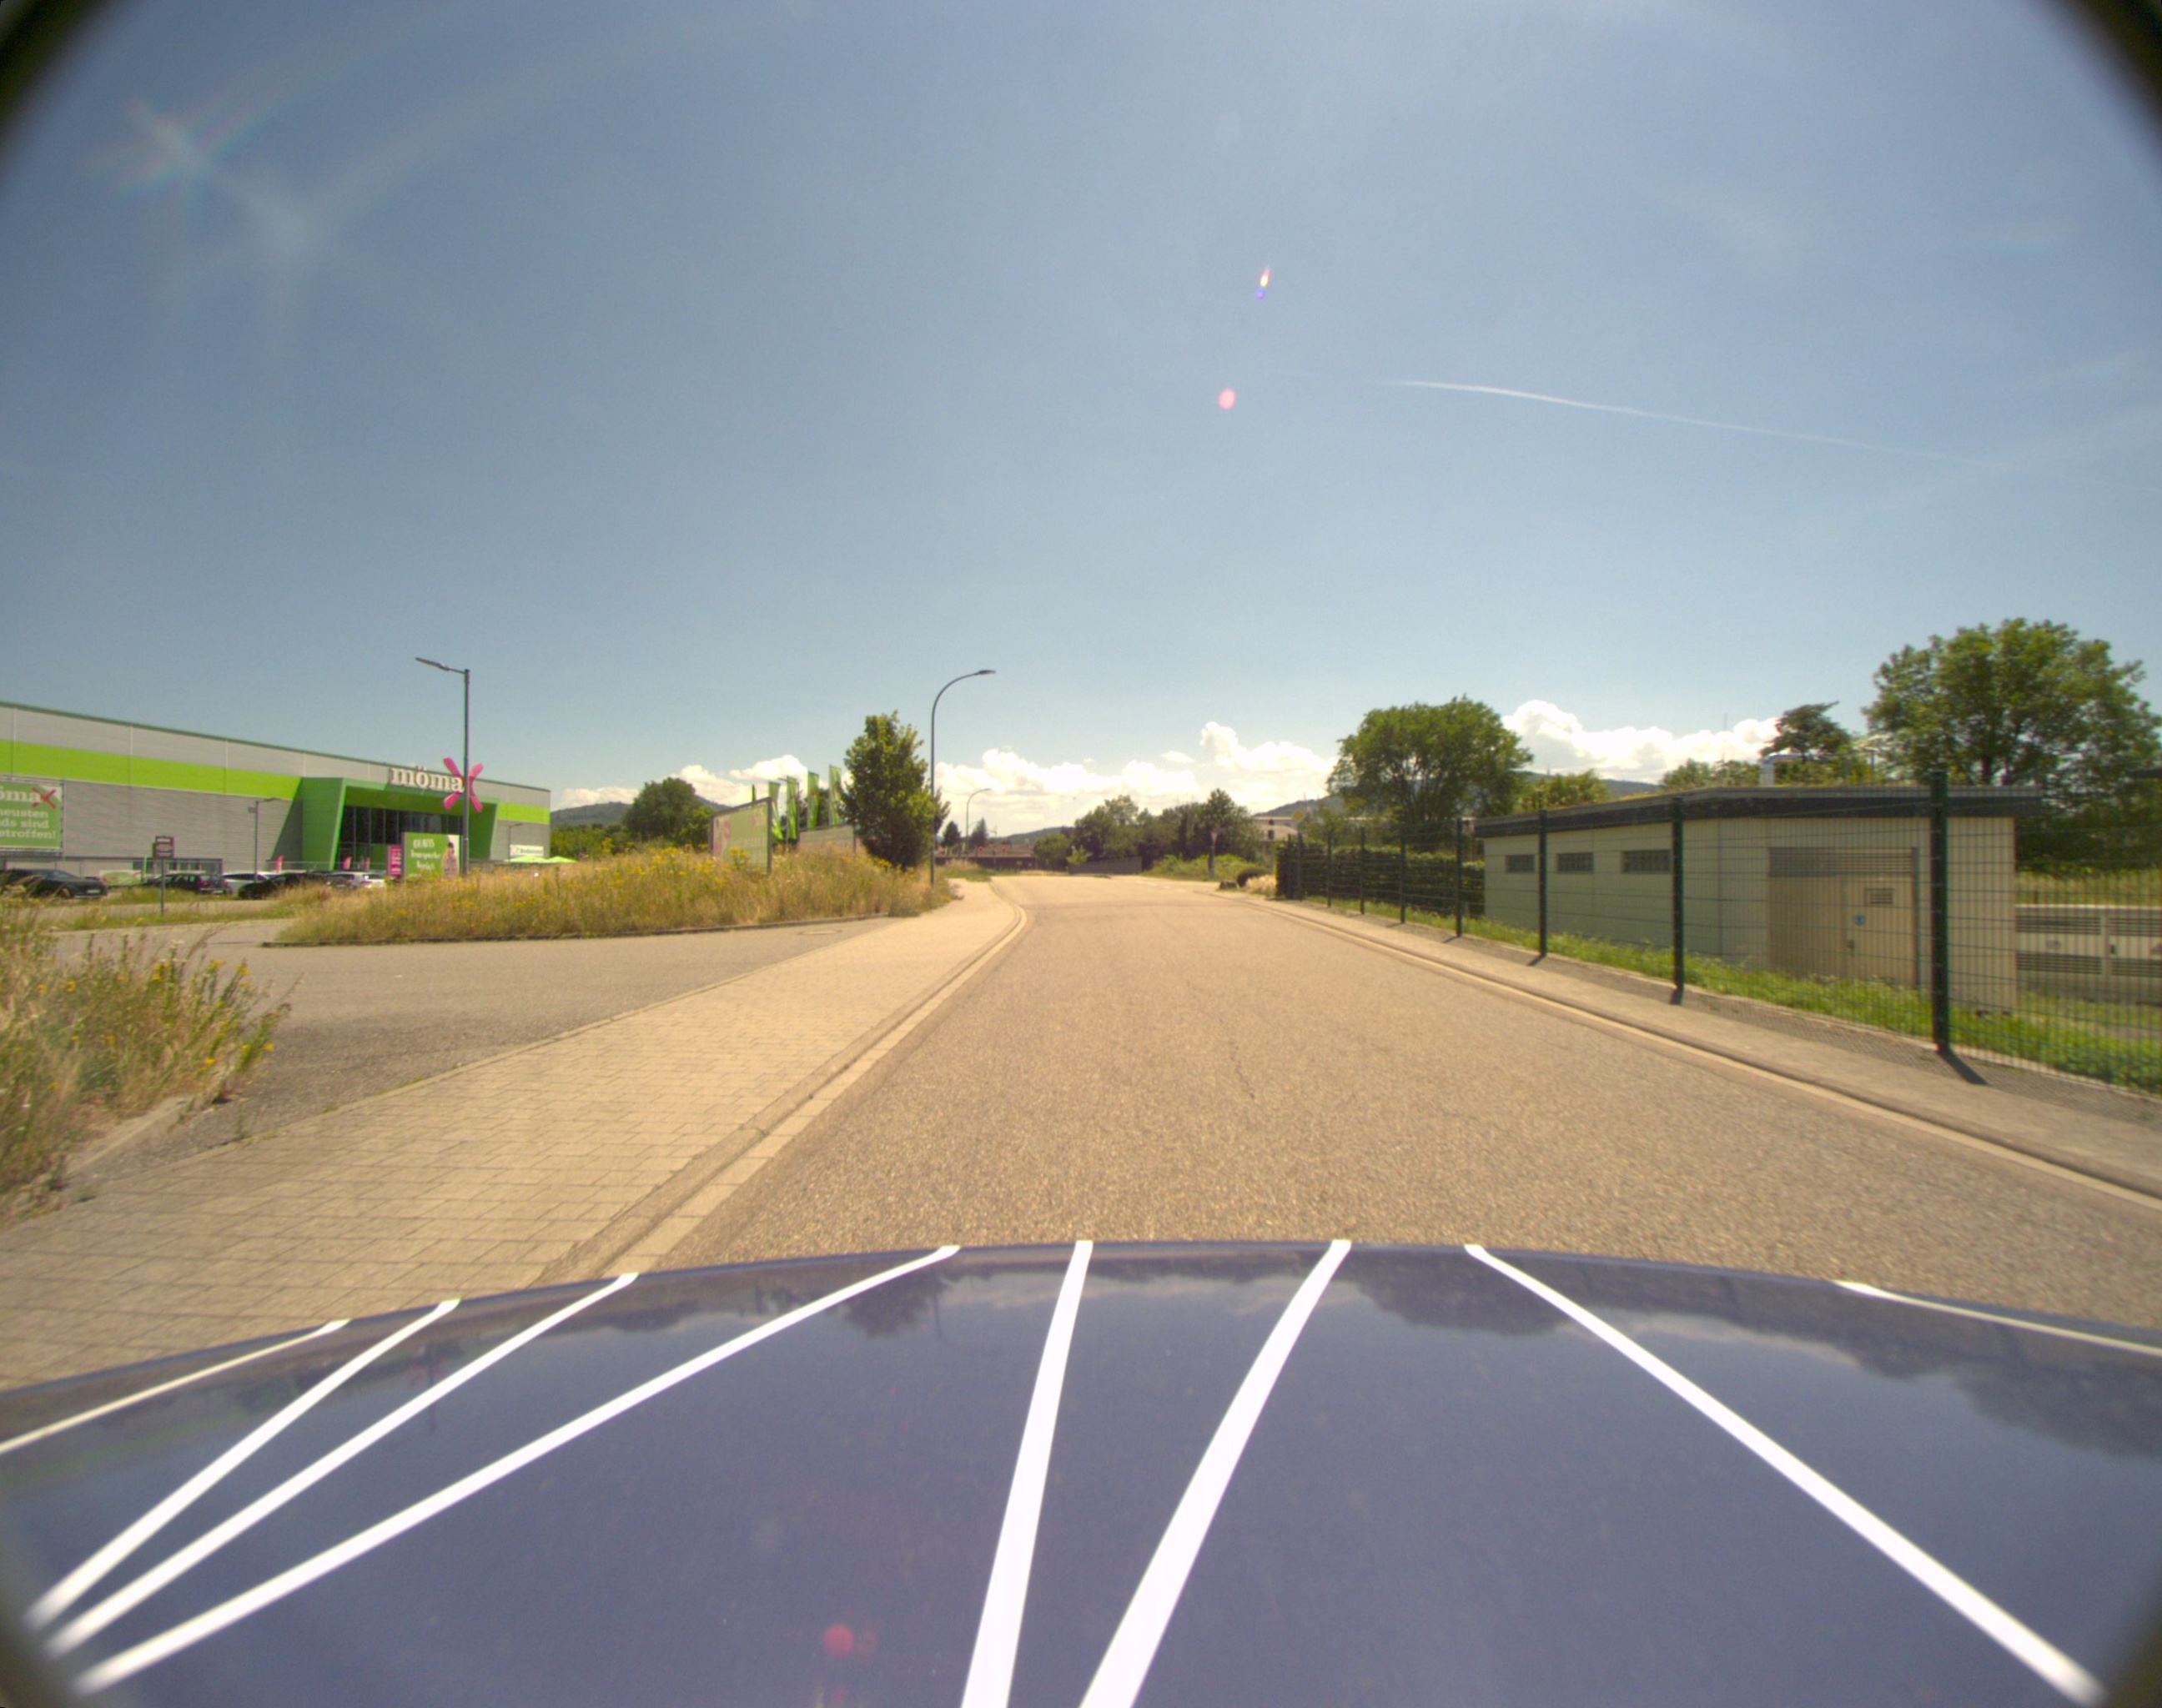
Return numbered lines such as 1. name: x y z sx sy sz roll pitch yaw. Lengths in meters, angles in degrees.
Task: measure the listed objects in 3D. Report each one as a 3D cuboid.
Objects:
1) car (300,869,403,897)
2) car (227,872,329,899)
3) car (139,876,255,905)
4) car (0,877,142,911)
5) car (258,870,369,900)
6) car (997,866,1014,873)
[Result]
1. car: -42.021 1.660 43.839 3.997 1.522 1.947 1 -1 -2
2. car: -48.347 1.891 45.792 3.997 1.496 1.947 1 -1 -2
3. car: -48.505 1.978 41.775 3.997 1.496 1.947 1 -1 -2
4. car: -48.089 1.899 36.060 4.419 1.510 2.000 0 0 -2
5. car: -41.581 1.677 41.231 3.997 1.522 1.947 1 -1 -2
6. car: -17.064 3.531 172.508 3.743 1.531 1.849 1 1 -2
